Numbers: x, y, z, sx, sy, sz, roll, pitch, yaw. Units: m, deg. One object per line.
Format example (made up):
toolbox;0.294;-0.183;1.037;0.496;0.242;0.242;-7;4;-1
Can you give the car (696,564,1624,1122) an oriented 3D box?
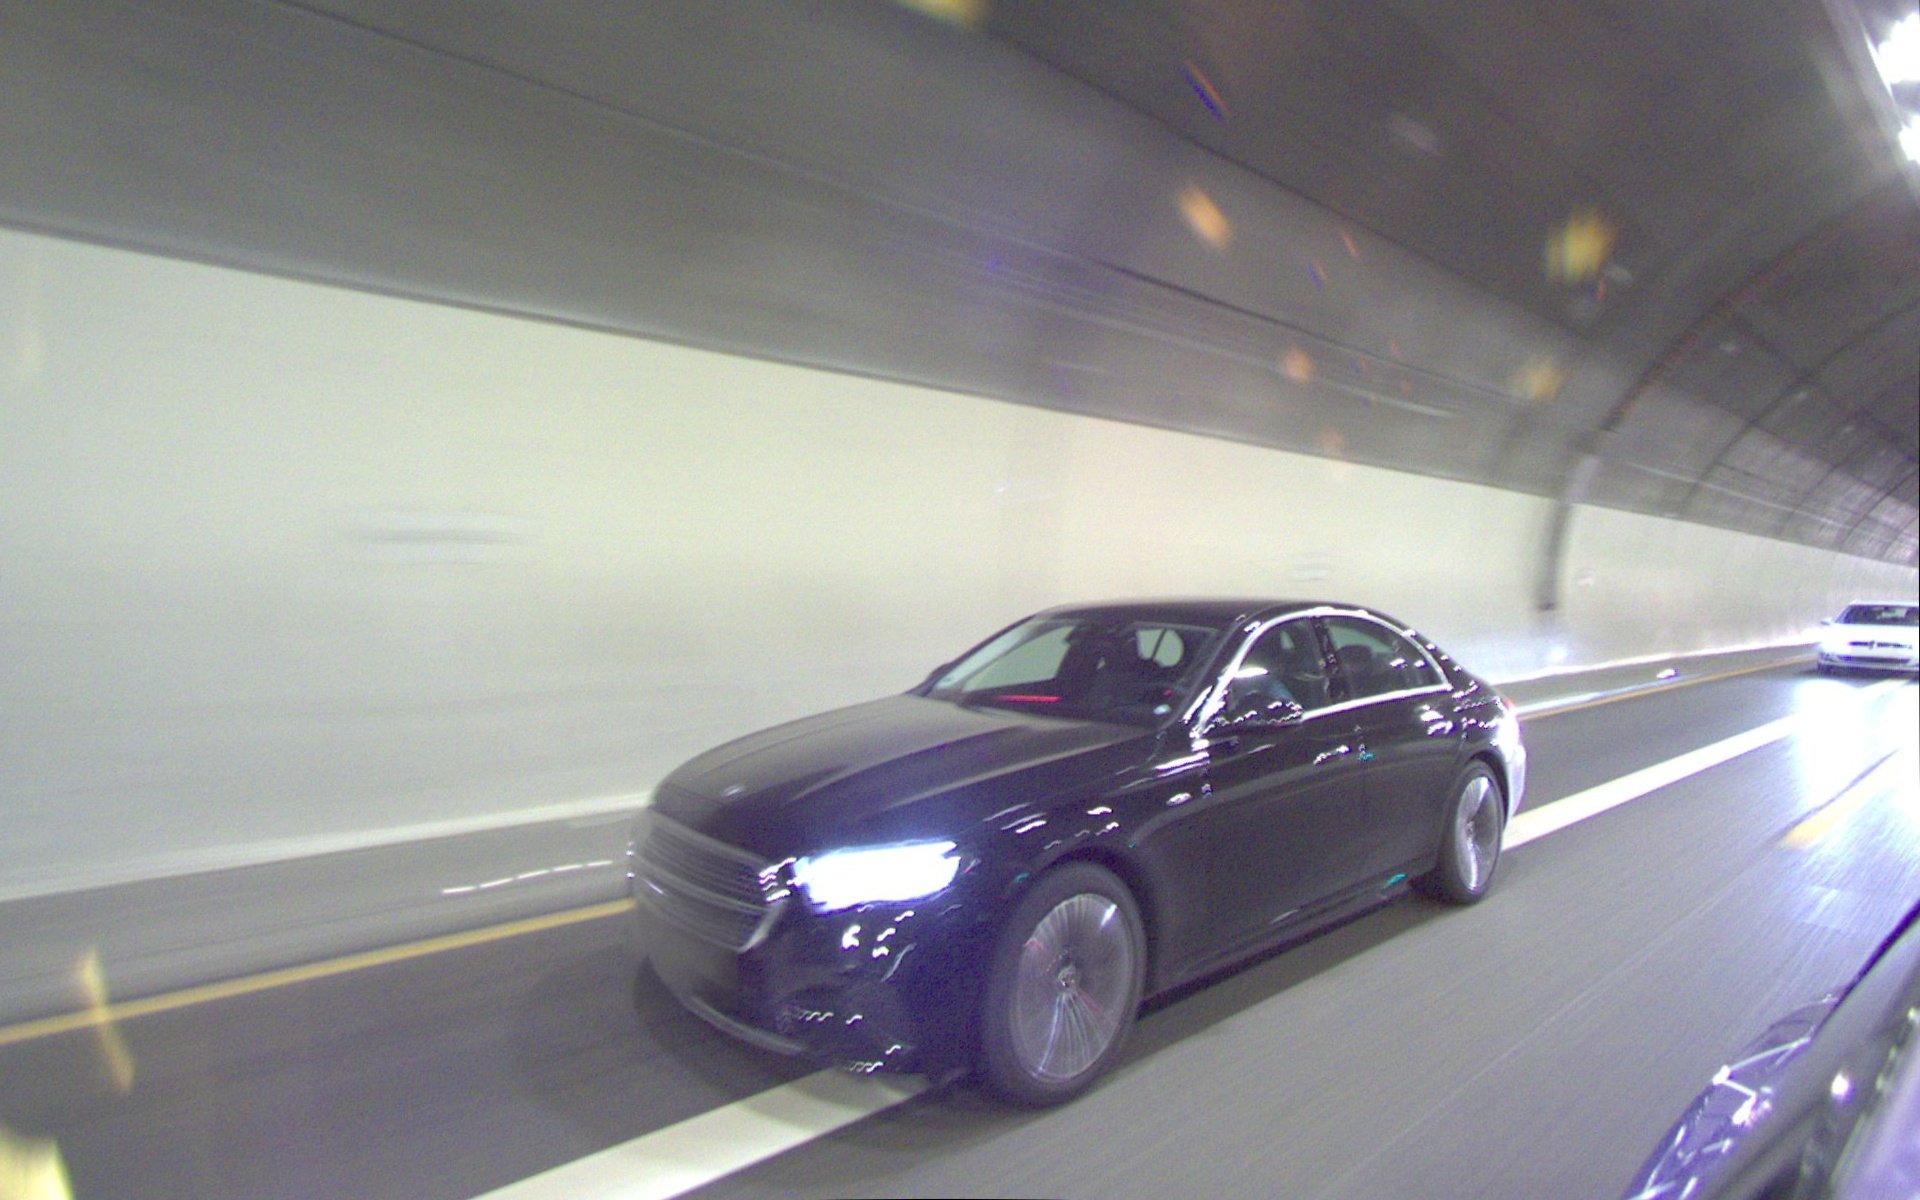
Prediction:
car;1.371;0.630;5.027;4.866;1.491;1.929;0;0;-40

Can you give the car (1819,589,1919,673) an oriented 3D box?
car;18.344;0.549;19.672;3.961;1.479;1.801;0;1;-39
